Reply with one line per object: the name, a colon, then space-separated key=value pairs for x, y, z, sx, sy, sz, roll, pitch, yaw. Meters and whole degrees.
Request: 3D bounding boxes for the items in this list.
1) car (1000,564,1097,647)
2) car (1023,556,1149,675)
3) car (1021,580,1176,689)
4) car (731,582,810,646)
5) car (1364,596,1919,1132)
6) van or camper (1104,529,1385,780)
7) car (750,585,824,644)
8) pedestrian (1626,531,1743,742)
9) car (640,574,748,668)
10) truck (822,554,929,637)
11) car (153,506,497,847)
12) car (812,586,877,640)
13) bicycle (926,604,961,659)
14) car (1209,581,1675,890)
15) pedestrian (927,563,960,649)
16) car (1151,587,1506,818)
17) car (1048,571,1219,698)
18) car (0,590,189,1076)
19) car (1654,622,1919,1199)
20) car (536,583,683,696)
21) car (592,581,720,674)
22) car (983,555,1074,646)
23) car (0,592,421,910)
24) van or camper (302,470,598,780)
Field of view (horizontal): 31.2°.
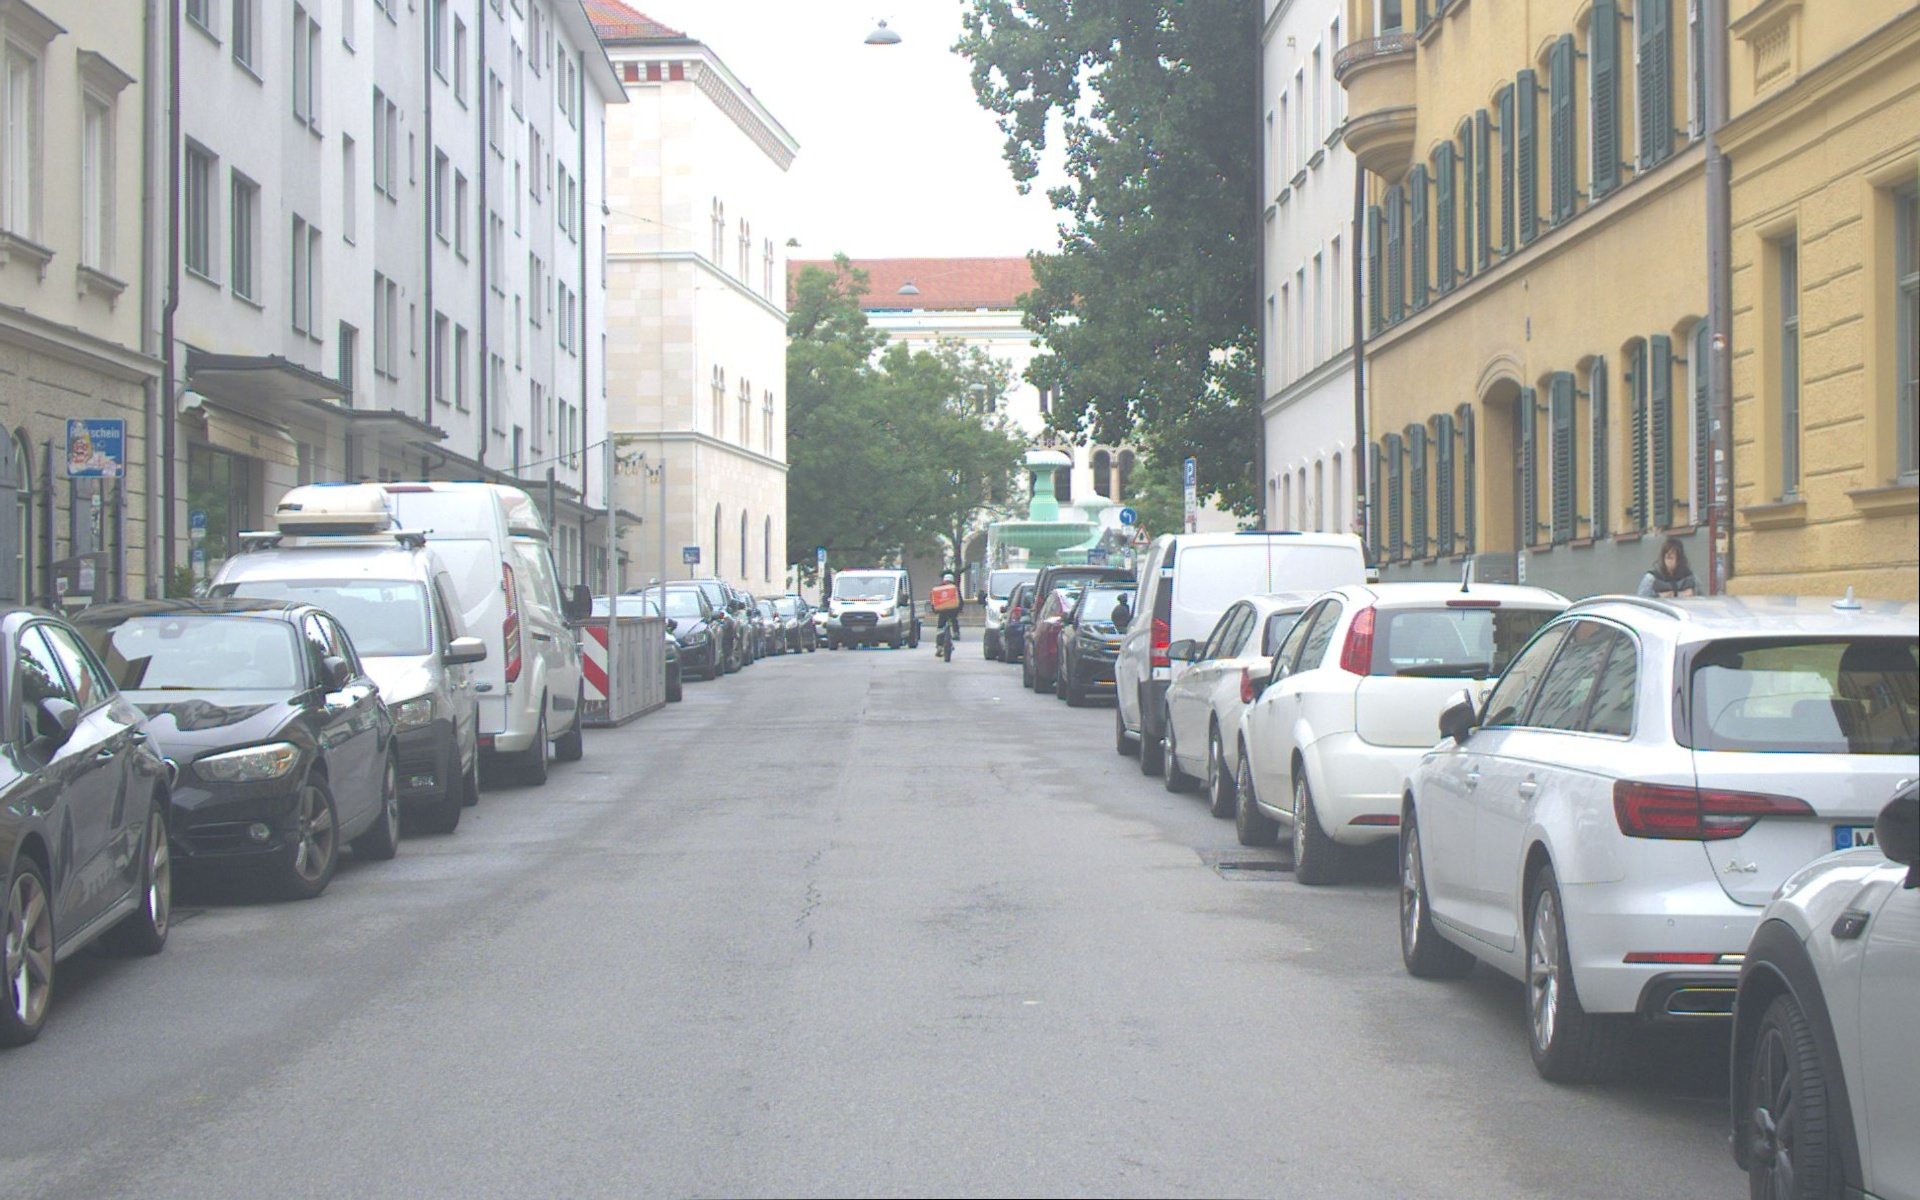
car: x=1.745 y=0.111 z=68.884 sx=1.812 sy=1.609 sz=4.156 roll=0 pitch=0 yaw=0
car: x=1.978 y=0.235 z=54.927 sx=1.812 sy=1.791 sz=4.247 roll=1 pitch=0 yaw=0
car: x=1.888 y=0.461 z=48.021 sx=1.811 sy=1.420 sz=4.247 roll=1 pitch=0 yaw=-2
car: x=-4.918 y=0.350 z=89.490 sx=1.706 sy=1.604 sz=3.863 roll=-1 pitch=0 yaw=2
car: x=2.507 y=0.695 z=11.479 sx=1.708 sy=1.404 sz=4.814 roll=0 pitch=0 yaw=0
van or camper: x=2.226 y=0.394 z=28.126 sx=1.833 sy=1.865 sz=5.079 roll=0 pitch=0 yaw=0
car: x=-4.782 y=0.387 z=95.555 sx=1.706 sy=1.576 sz=3.862 roll=-1 pitch=0 yaw=2
pedestrian: x=5.573 y=0.282 z=26.468 sx=0.660 sy=1.566 sz=0.642 roll=-3 pitch=-1 yaw=-1
car: x=-4.753 y=0.360 z=61.743 sx=1.706 sy=1.604 sz=3.863 roll=-1 pitch=0 yaw=-1
truck: x=-2.325 y=-0.091 z=96.584 sx=2.121 sy=2.240 sz=6.183 roll=-1 pitch=-1 yaw=7
car: x=-4.024 y=0.441 z=22.437 sx=1.754 sy=1.988 sz=4.626 roll=0 pitch=0 yaw=-5
car: x=-3.480 y=0.389 z=104.135 sx=1.706 sy=1.576 sz=3.862 roll=-1 pitch=0 yaw=2
bicycle: x=-0.326 y=0.644 z=69.273 sx=0.675 sy=1.091 sz=1.760 roll=0 pitch=-1 yaw=0
car: x=2.412 y=0.631 z=18.173 sx=1.708 sy=1.449 sz=4.097 roll=0 pitch=0 yaw=-3
pedestrian: x=-0.333 y=0.127 z=69.333 sx=0.642 sy=1.708 sz=0.843 roll=0 pitch=-1 yaw=0
car: x=2.338 y=0.615 z=22.810 sx=1.708 sy=1.388 sz=4.207 roll=0 pitch=0 yaw=-3
car: x=2.100 y=0.411 z=42.551 sx=1.811 sy=1.460 sz=4.247 roll=1 pitch=0 yaw=-1
car: x=-3.955 y=0.720 z=12.096 sx=1.816 sy=1.437 sz=4.132 roll=-1 pitch=1 yaw=-4
car: x=2.589 y=0.759 z=6.000 sx=1.708 sy=1.400 sz=4.208 roll=0 pitch=0 yaw=-3
car: x=-4.743 y=0.509 z=46.110 sx=1.761 sy=1.406 sz=4.156 roll=-1 pitch=0 yaw=-8
car: x=-4.941 y=0.431 z=56.292 sx=1.817 sy=1.439 sz=3.818 roll=-1 pitch=0 yaw=-1
car: x=1.457 y=0.005 z=74.760 sx=1.852 sy=1.913 sz=4.769 roll=0 pitch=0 yaw=0
car: x=-3.839 y=0.666 z=17.268 sx=1.754 sy=1.404 sz=4.103 roll=0 pitch=0 yaw=-2
van or camper: x=-4.025 y=0.177 z=27.889 sx=1.754 sy=2.273 sz=5.273 roll=0 pitch=0 yaw=-2
